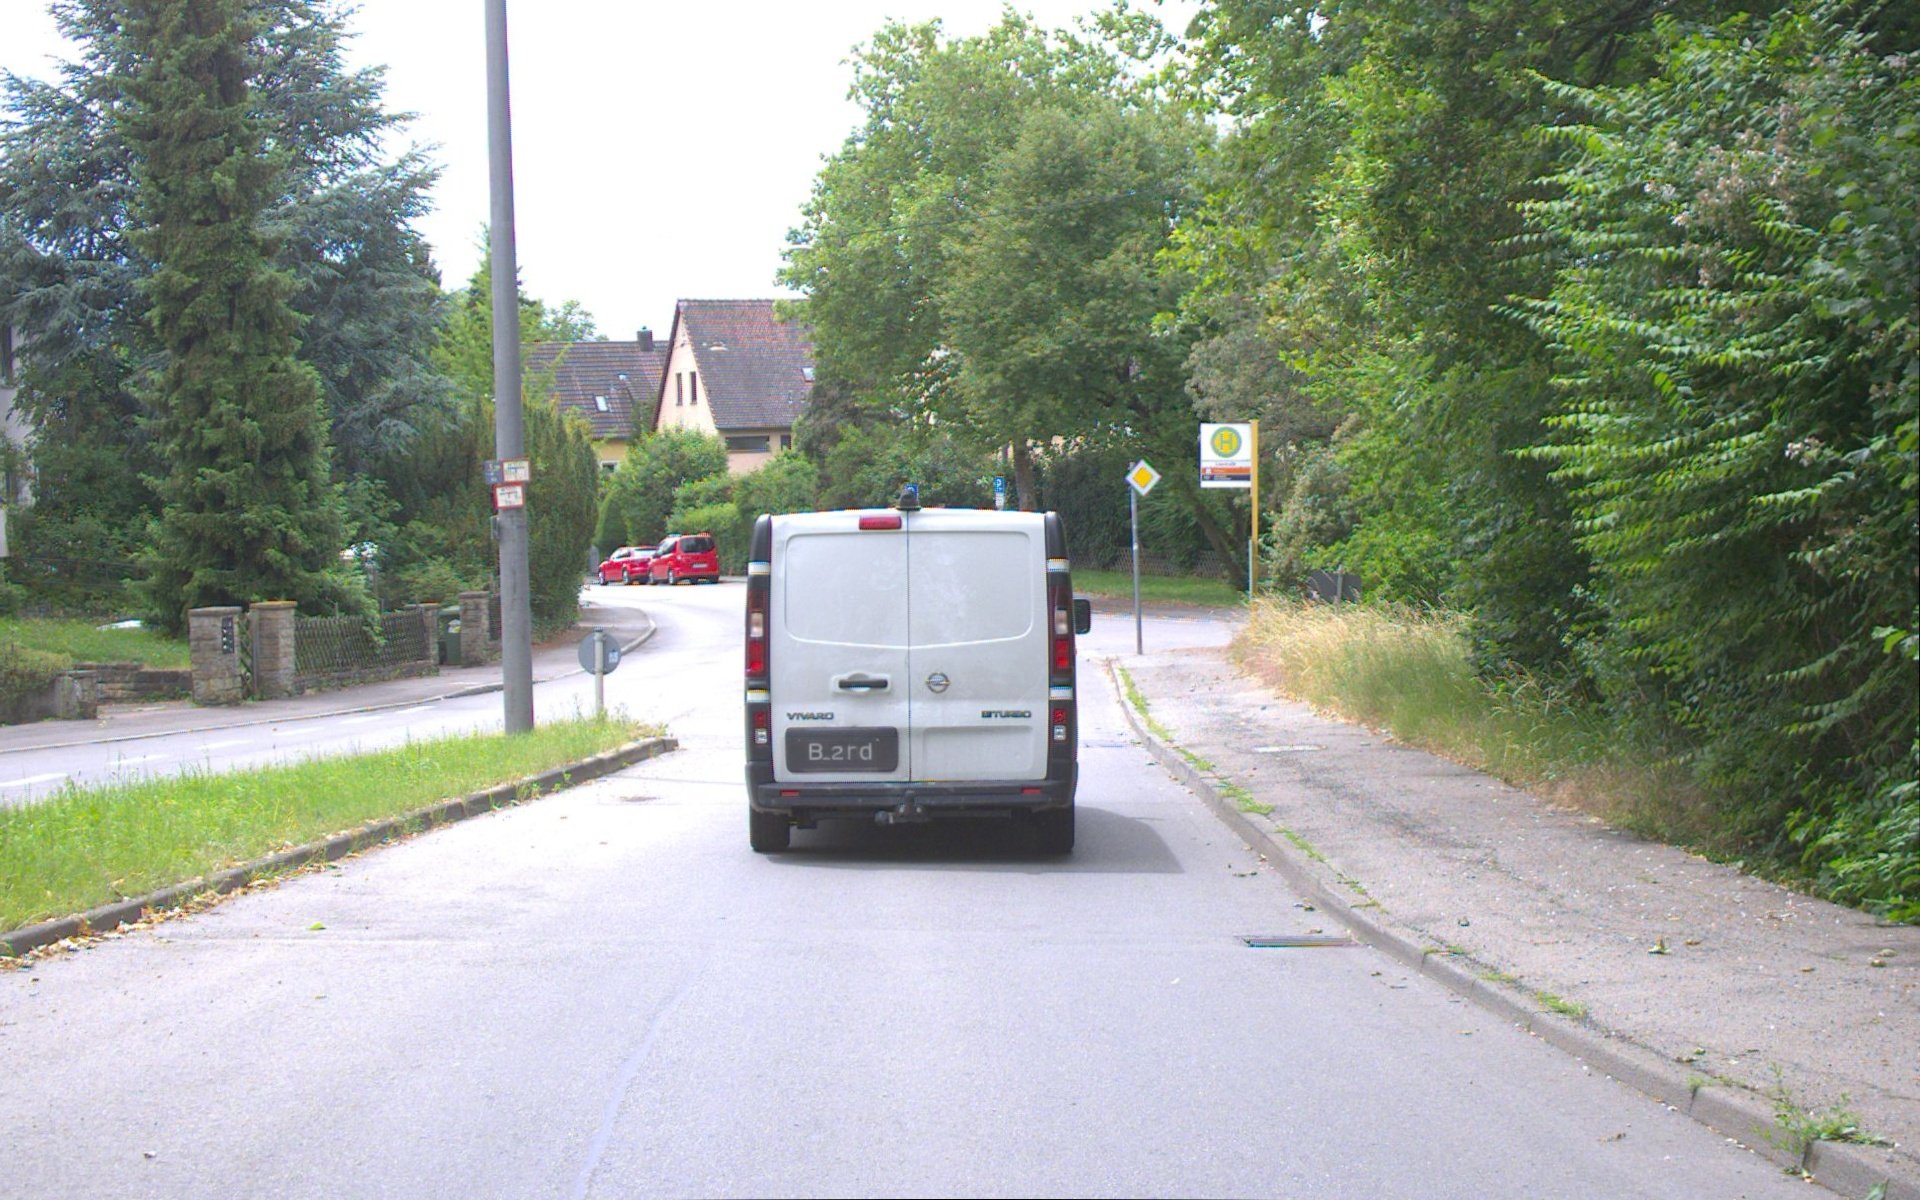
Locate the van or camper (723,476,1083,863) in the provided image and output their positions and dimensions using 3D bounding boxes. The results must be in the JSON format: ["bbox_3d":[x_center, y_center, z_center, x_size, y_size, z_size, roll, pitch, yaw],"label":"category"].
[{"bbox_3d":[-0.257,0.289,20.916,1.924,2.006,4.830,0,3,1],"label":"van or camper"}]

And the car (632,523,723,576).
[{"bbox_3d":[-10.034,-1.782,121.797,1.760,1.791,4.950,-2,2,-23],"label":"car"}]

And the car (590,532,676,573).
[{"bbox_3d":[-12.072,-1.755,126.744,1.712,1.462,4.269,-2,2,-26],"label":"car"}]
